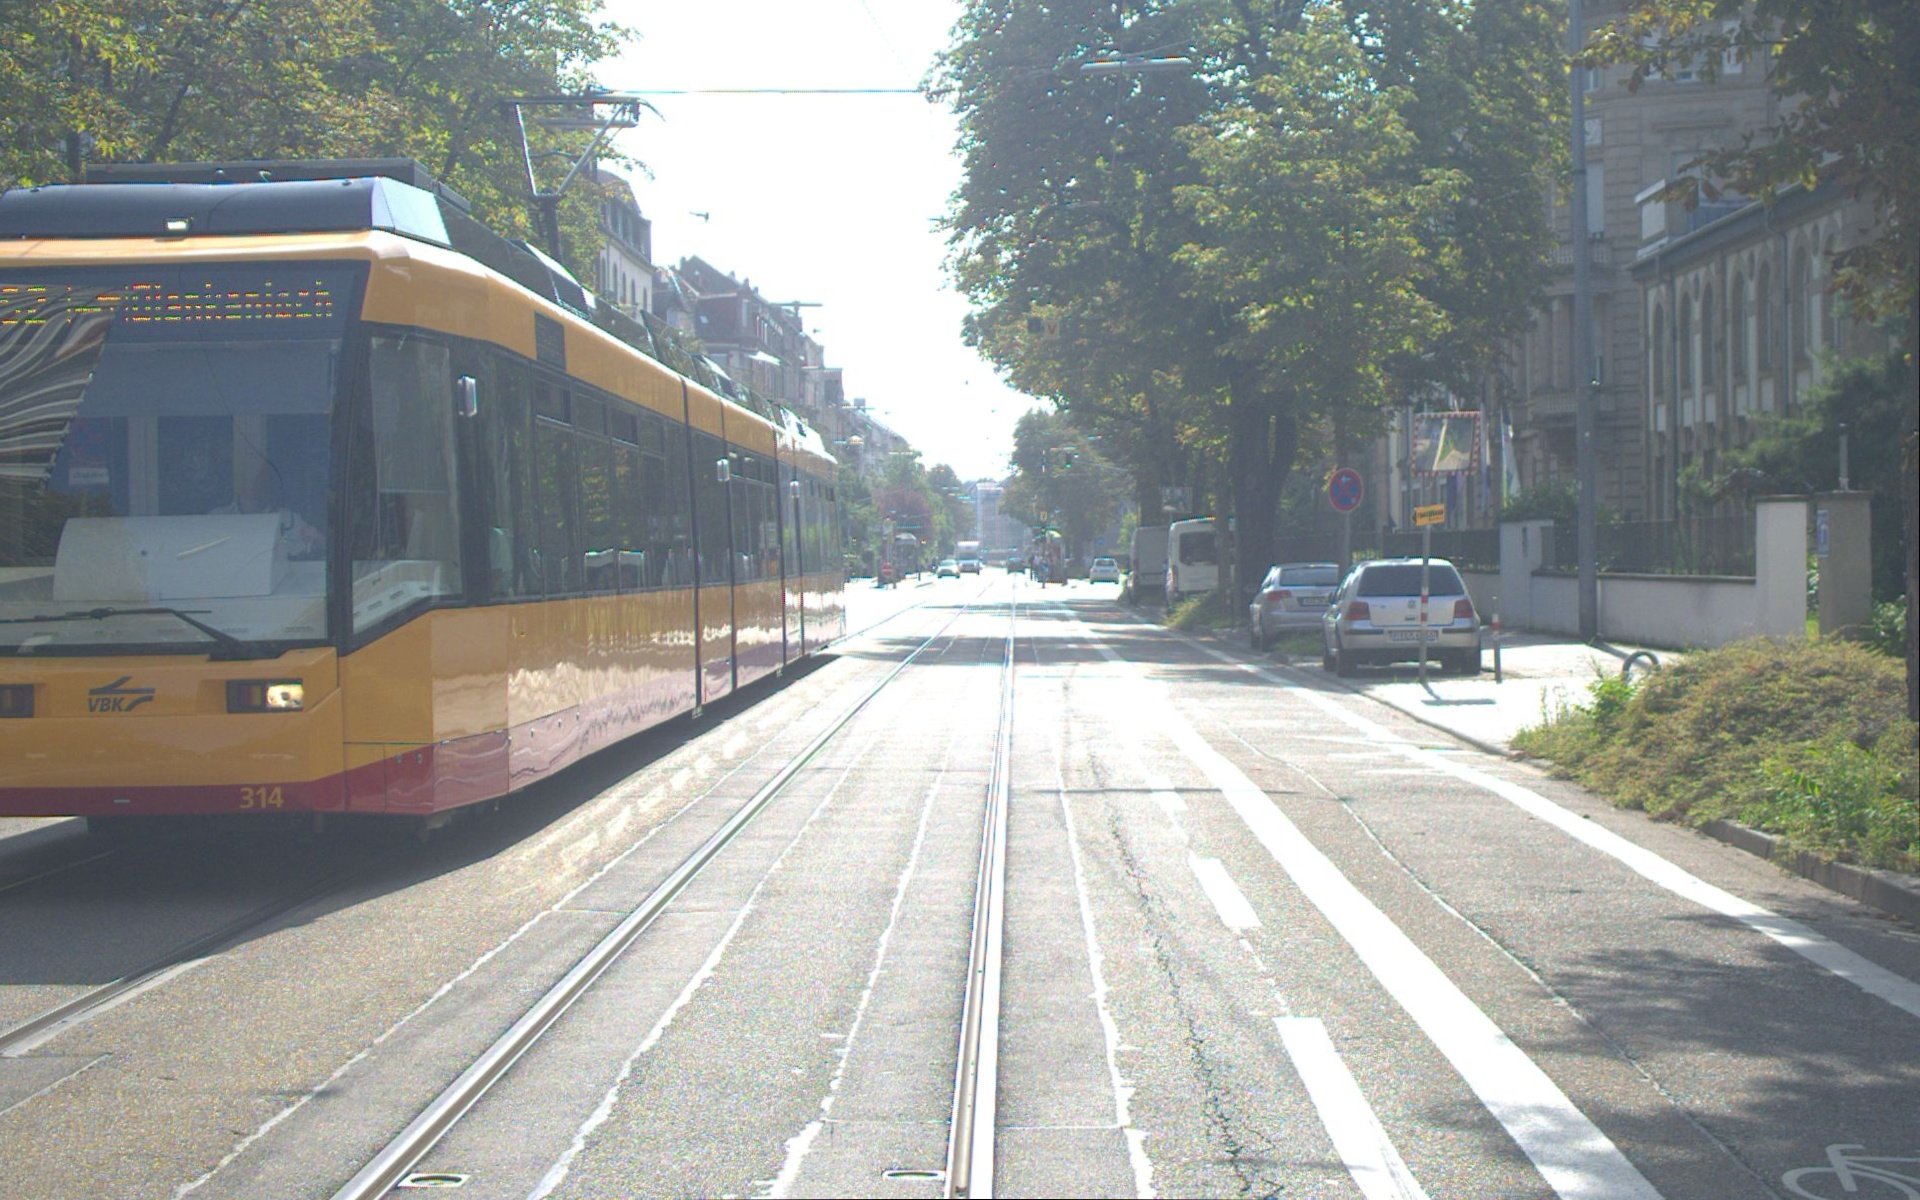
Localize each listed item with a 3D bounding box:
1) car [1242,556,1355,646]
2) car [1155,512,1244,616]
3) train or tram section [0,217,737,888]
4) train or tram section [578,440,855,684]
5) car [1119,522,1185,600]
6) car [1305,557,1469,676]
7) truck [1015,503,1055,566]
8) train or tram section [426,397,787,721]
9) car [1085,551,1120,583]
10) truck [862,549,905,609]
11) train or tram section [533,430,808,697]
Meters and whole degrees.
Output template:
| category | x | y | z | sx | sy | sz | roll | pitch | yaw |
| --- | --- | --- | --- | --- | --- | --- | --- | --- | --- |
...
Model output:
| category | x | y | z | sx | sy | sz | roll | pitch | yaw |
| --- | --- | --- | --- | --- | --- | --- | --- | --- | --- |
| car | 5.505 | -0.010 | 56.176 | 1.595 | 1.413 | 3.634 | 0 | 1 | 2 |
| car | 5.850 | -0.886 | 84.445 | 2.005 | 2.482 | 4.477 | 0 | 1 | 2 |
| train or tram section | -3.476 | -0.282 | 22.584 | 2.729 | 2.884 | 15.455 | 0 | 1 | 1 |
| train or tram section | -3.032 | -0.500 | 45.819 | 2.680 | 2.852 | 10.543 | 0 | 1 | 1 |
| car | 6.203 | -1.267 | 111.410 | 2.005 | 2.467 | 4.477 | 0 | 1 | 2 |
| car | 5.240 | 0.173 | 42.570 | 1.690 | 1.413 | 3.634 | 0 | 1 | 2 |
| truck | 3.763 | -3.275 | 173.080 | 1.860 | 3.120 | 4.353 | 0 | 1 | -1 |
| train or tram section | -3.281 | -0.393 | 33.603 | 2.729 | 2.840 | 6.543 | 0 | 1 | 1 |
| car | 8.243 | -1.896 | 198.541 | 1.993 | 1.831 | 4.000 | 0 | 1 | 2 |
| truck | -3.860 | -1.088 | 173.311 | 1.993 | 2.965 | 4.571 | 0 | 1 | 1 |
| train or tram section | -3.189 | -0.411 | 38.721 | 2.706 | 2.847 | 3.649 | 0 | 1 | 1 |
